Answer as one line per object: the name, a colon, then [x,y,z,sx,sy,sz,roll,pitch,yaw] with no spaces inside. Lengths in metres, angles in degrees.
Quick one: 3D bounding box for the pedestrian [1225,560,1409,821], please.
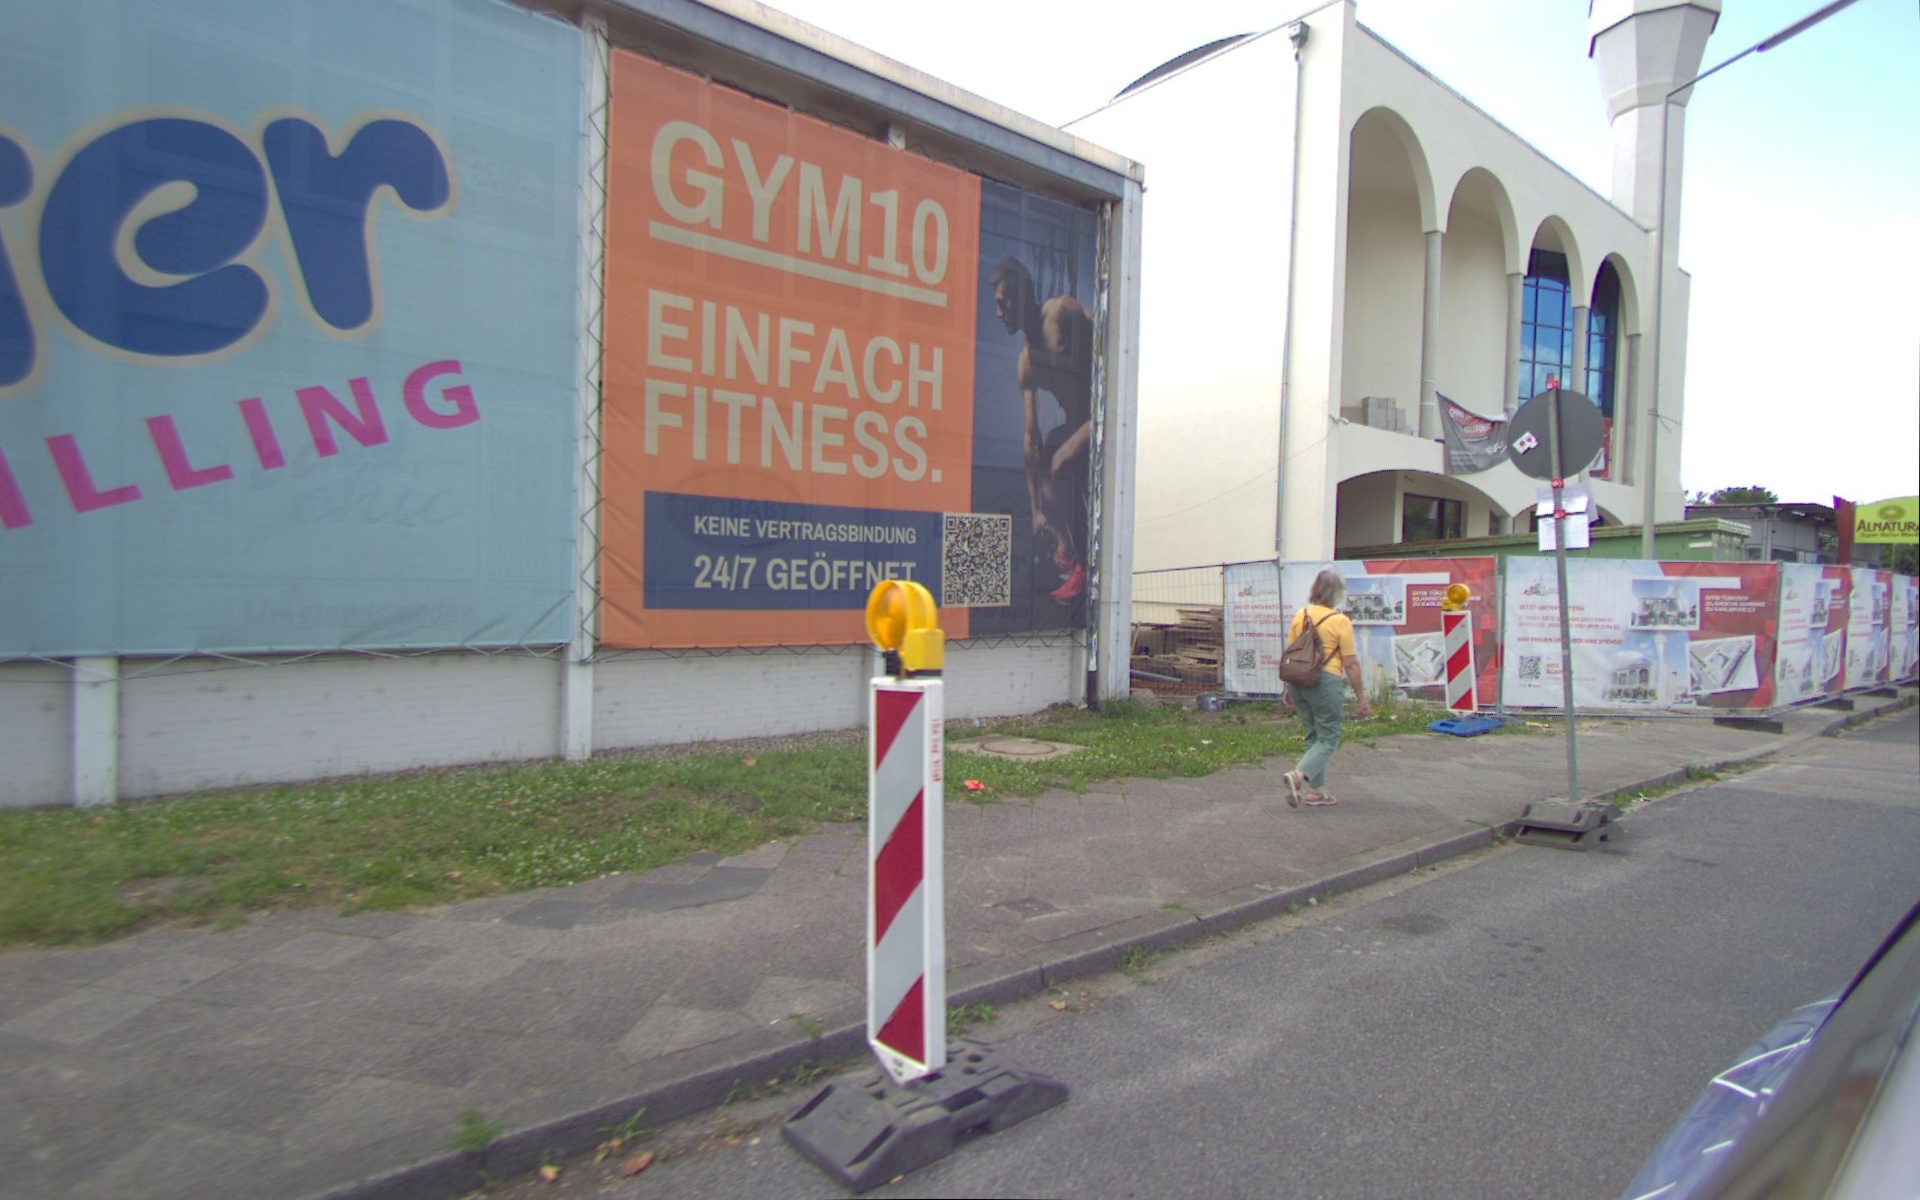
pedestrian: [2.371,0.532,6.684,1.111,1.552,0.682,0,2,-44]
